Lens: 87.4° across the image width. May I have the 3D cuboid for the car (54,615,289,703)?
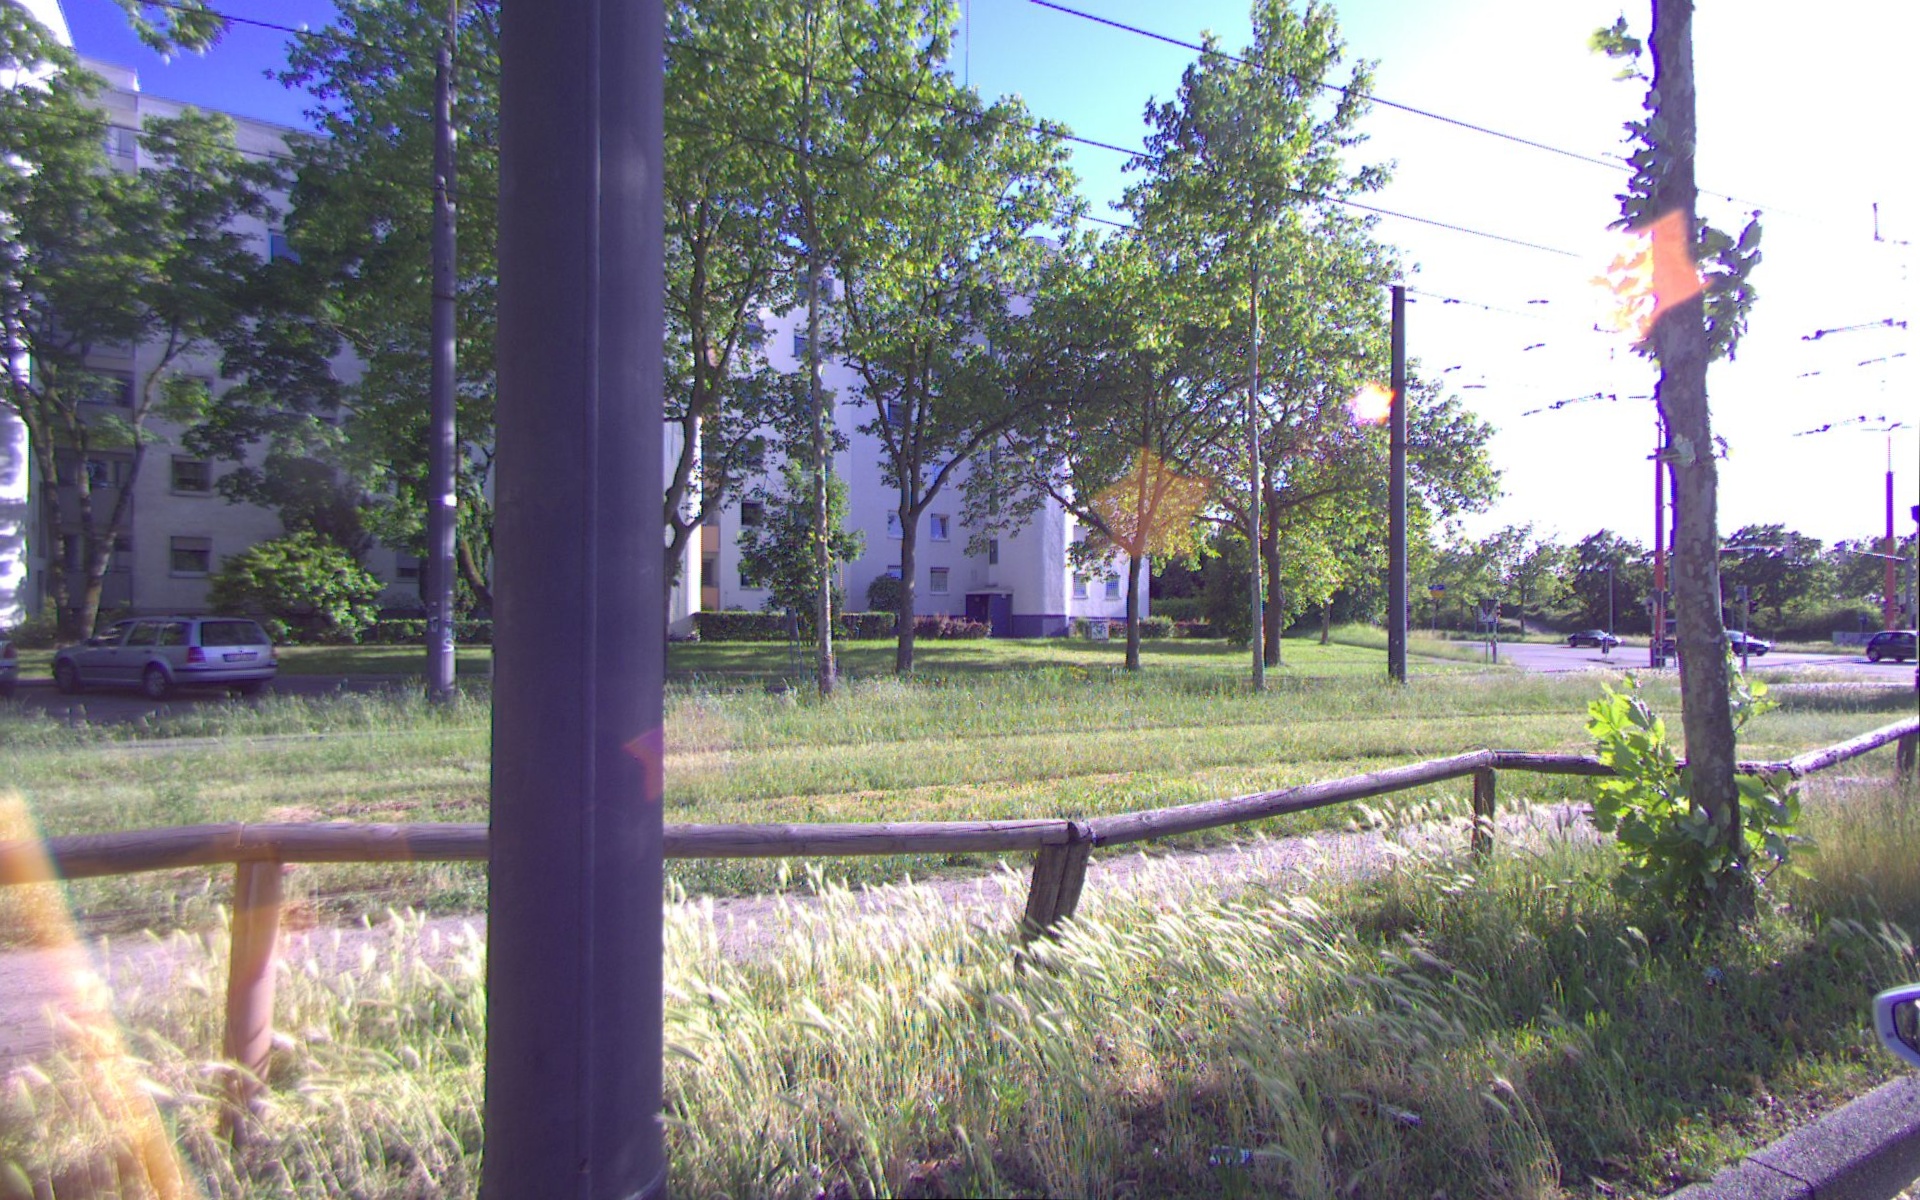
[{"bbox_3d":[-14.485,1.027,18.481,3.609,1.452,1.732,0,-1,20],"label":"car"}]

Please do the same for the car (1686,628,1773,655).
[{"bbox_3d":[45.486,2.412,59.473,1.877,1.483,4.240,1,-1,-1],"label":"car"}]

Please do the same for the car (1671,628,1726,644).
[{"bbox_3d":[63.941,3.130,87.029,1.633,1.327,3.809,1,-1,-10],"label":"car"}]

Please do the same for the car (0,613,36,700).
[{"bbox_3d":[-17.929,0.928,17.137,3.609,1.452,1.703,0,-1,20],"label":"car"}]

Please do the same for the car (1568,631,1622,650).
[{"bbox_3d":[47.109,3.002,74.610,1.707,1.327,3.817,1,-1,3],"label":"car"}]

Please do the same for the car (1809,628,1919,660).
[{"bbox_3d":[45.899,2.193,51.006,1.879,1.483,4.050,1,-1,-9],"label":"car"}]
